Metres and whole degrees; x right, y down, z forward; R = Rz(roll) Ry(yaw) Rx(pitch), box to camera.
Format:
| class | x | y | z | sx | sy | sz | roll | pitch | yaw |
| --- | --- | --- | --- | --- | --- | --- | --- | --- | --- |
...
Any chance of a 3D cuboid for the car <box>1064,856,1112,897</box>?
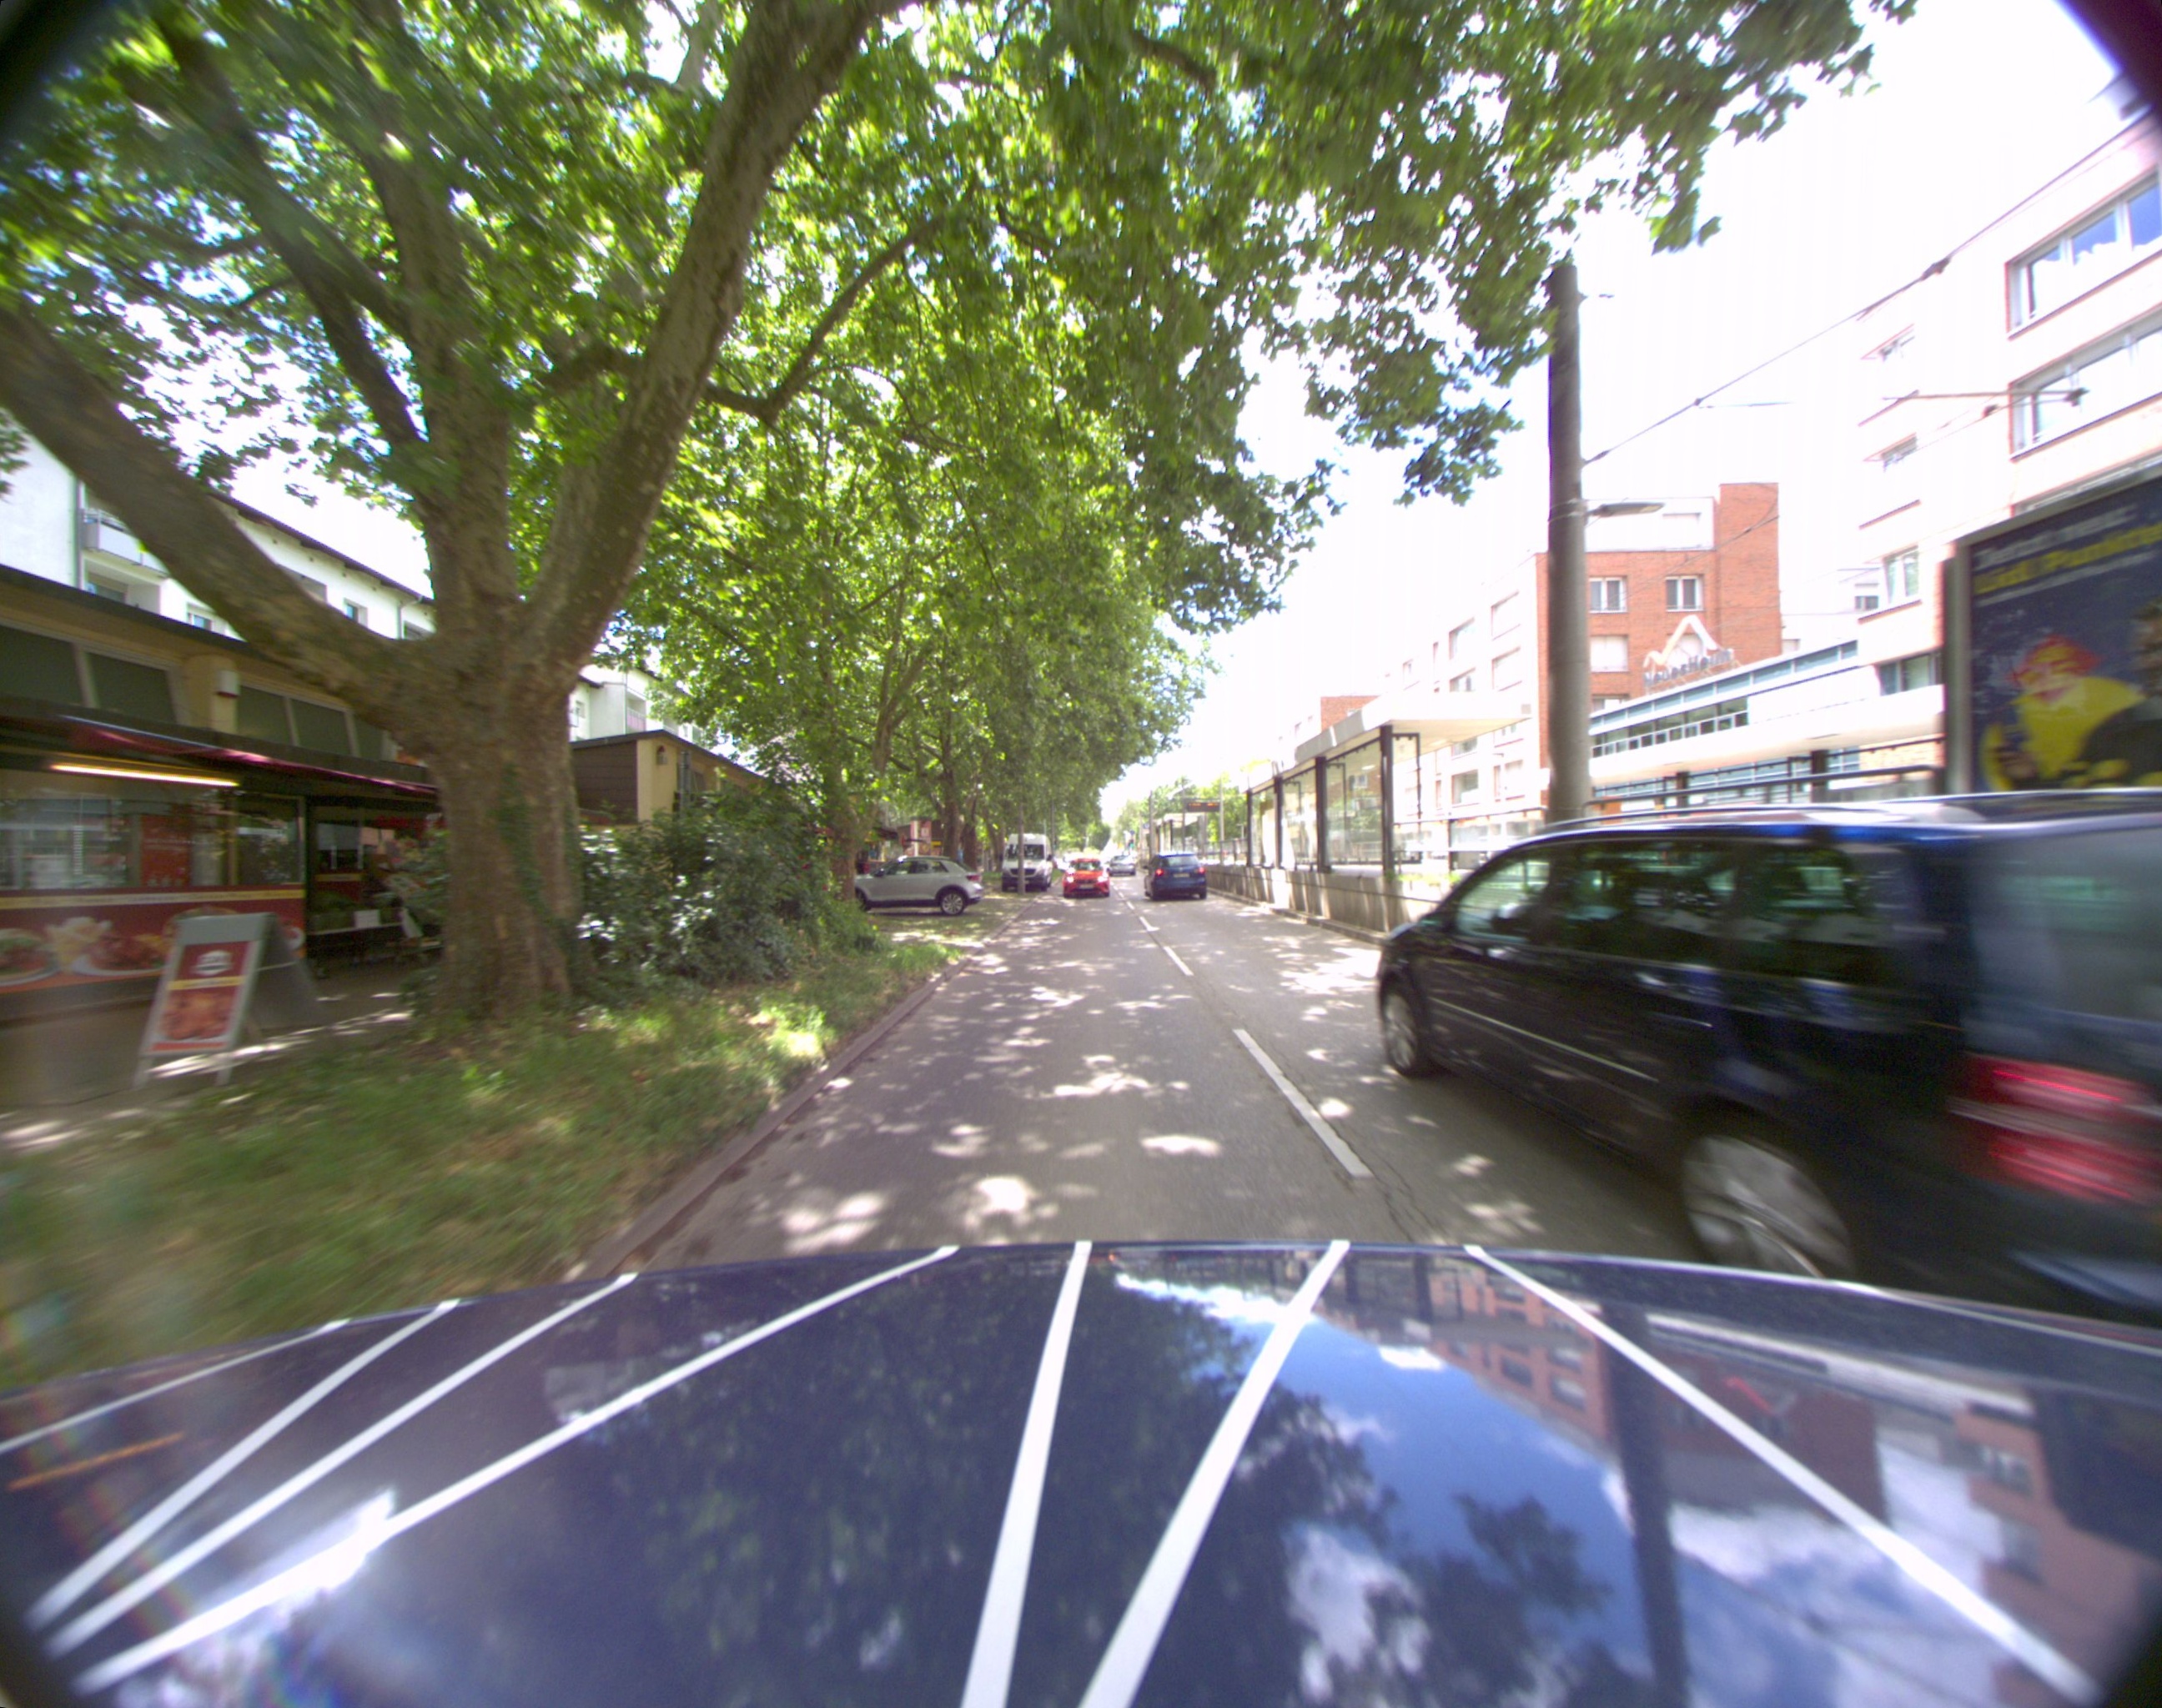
| class | x | y | z | sx | sy | sz | roll | pitch | yaw |
| --- | --- | --- | --- | --- | --- | --- | --- | --- | --- |
| car | 0.278 | 0.844 | 30.098 | 1.712 | 1.439 | 3.670 | -4 | 0 | 1 |

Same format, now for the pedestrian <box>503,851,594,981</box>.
| class | x | y | z | sx | sy | sz | roll | pitch | yaw |
| --- | --- | --- | --- | --- | --- | --- | --- | --- | --- |
| pedestrian | -7.088 | 0.802 | 10.151 | 0.625 | 1.666 | 0.772 | -1 | 1 | 1 |

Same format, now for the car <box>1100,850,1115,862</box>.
| class | x | y | z | sx | sy | sz | roll | pitch | yaw |
| --- | --- | --- | --- | --- | --- | --- | --- | --- | --- |
| car | 3.416 | 0.223 | 97.988 | 1.736 | 1.388 | 3.751 | -3 | 0 | -1 |

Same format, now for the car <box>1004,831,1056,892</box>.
| class | x | y | z | sx | sy | sz | roll | pitch | yaw |
| --- | --- | --- | --- | --- | --- | --- | --- | --- | --- |
| car | -2.283 | 0.292 | 35.759 | 1.909 | 2.566 | 6.833 | 1 | 0 | 1 |

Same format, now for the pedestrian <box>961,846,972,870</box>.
| class | x | y | z | sx | sy | sz | roll | pitch | yaw |
| --- | --- | --- | --- | --- | --- | --- | --- | --- | --- |
| pedestrian | -9.032 | 0.295 | 59.908 | 0.745 | 1.873 | 0.941 | 1 | 1 | 0 |

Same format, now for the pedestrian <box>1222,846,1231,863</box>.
| class | x | y | z | sx | sy | sz | roll | pitch | yaw |
| --- | --- | --- | --- | --- | --- | --- | --- | --- | --- |
| pedestrian | 16.344 | 0.057 | 85.410 | 0.745 | 1.814 | 0.829 | -1 | 0 | -1 |

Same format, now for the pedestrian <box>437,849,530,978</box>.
| class | x | y | z | sx | sy | sz | roll | pitch | yaw |
| --- | --- | --- | --- | --- | --- | --- | --- | --- | --- |
| pedestrian | -8.170 | 0.789 | 10.417 | 0.761 | 1.715 | 0.658 | 0 | 1 | -4 |

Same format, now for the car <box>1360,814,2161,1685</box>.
| class | x | y | z | sx | sy | sz | roll | pitch | yaw |
| --- | --- | --- | --- | --- | --- | --- | --- | --- | --- |
| car | 2.892 | 0.710 | 3.355 | 1.758 | 1.624 | 4.118 | -3 | 0 | 0 |

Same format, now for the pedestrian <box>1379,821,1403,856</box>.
| class | x | y | z | sx | sy | sz | roll | pitch | yaw |
| --- | --- | --- | --- | --- | --- | --- | --- | --- | --- |
| pedestrian | 14.702 | -0.749 | 36.024 | 0.753 | 1.619 | 0.816 | -2 | 1 | 1 |

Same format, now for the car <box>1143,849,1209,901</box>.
| class | x | y | z | sx | sy | sz | roll | pitch | yaw |
| --- | --- | --- | --- | --- | --- | --- | --- | --- | --- |
| car | 3.122 | 0.638 | 25.590 | 1.700 | 1.555 | 3.860 | -2 | 1 | 0 |

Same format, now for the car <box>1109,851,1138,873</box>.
| class | x | y | z | sx | sy | sz | roll | pitch | yaw |
| --- | --- | --- | --- | --- | --- | --- | --- | --- | --- |
| car | 2.983 | 0.535 | 54.654 | 1.767 | 1.472 | 4.576 | -3 | 0 | 0 |

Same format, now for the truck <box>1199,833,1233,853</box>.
| class | x | y | z | sx | sy | sz | roll | pitch | yaw |
| --- | --- | --- | --- | --- | --- | --- | --- | --- | --- |
| truck | 28.695 | -2.217 | 161.060 | 2.623 | 4.069 | 9.629 | 0 | 0 | 41 |

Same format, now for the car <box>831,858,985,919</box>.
| class | x | y | z | sx | sy | sz | roll | pitch | yaw |
| --- | --- | --- | --- | --- | --- | --- | --- | --- | --- |
| car | -4.535 | 0.889 | 20.313 | 3.841 | 1.553 | 1.619 | 0 | 1 | -6 |

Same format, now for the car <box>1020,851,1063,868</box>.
| class | x | y | z | sx | sy | sz | roll | pitch | yaw |
| --- | --- | --- | --- | --- | --- | --- | --- | --- | --- |
| car | -3.902 | 0.567 | 74.974 | 4.038 | 1.602 | 1.731 | -1 | 0 | 4 |
